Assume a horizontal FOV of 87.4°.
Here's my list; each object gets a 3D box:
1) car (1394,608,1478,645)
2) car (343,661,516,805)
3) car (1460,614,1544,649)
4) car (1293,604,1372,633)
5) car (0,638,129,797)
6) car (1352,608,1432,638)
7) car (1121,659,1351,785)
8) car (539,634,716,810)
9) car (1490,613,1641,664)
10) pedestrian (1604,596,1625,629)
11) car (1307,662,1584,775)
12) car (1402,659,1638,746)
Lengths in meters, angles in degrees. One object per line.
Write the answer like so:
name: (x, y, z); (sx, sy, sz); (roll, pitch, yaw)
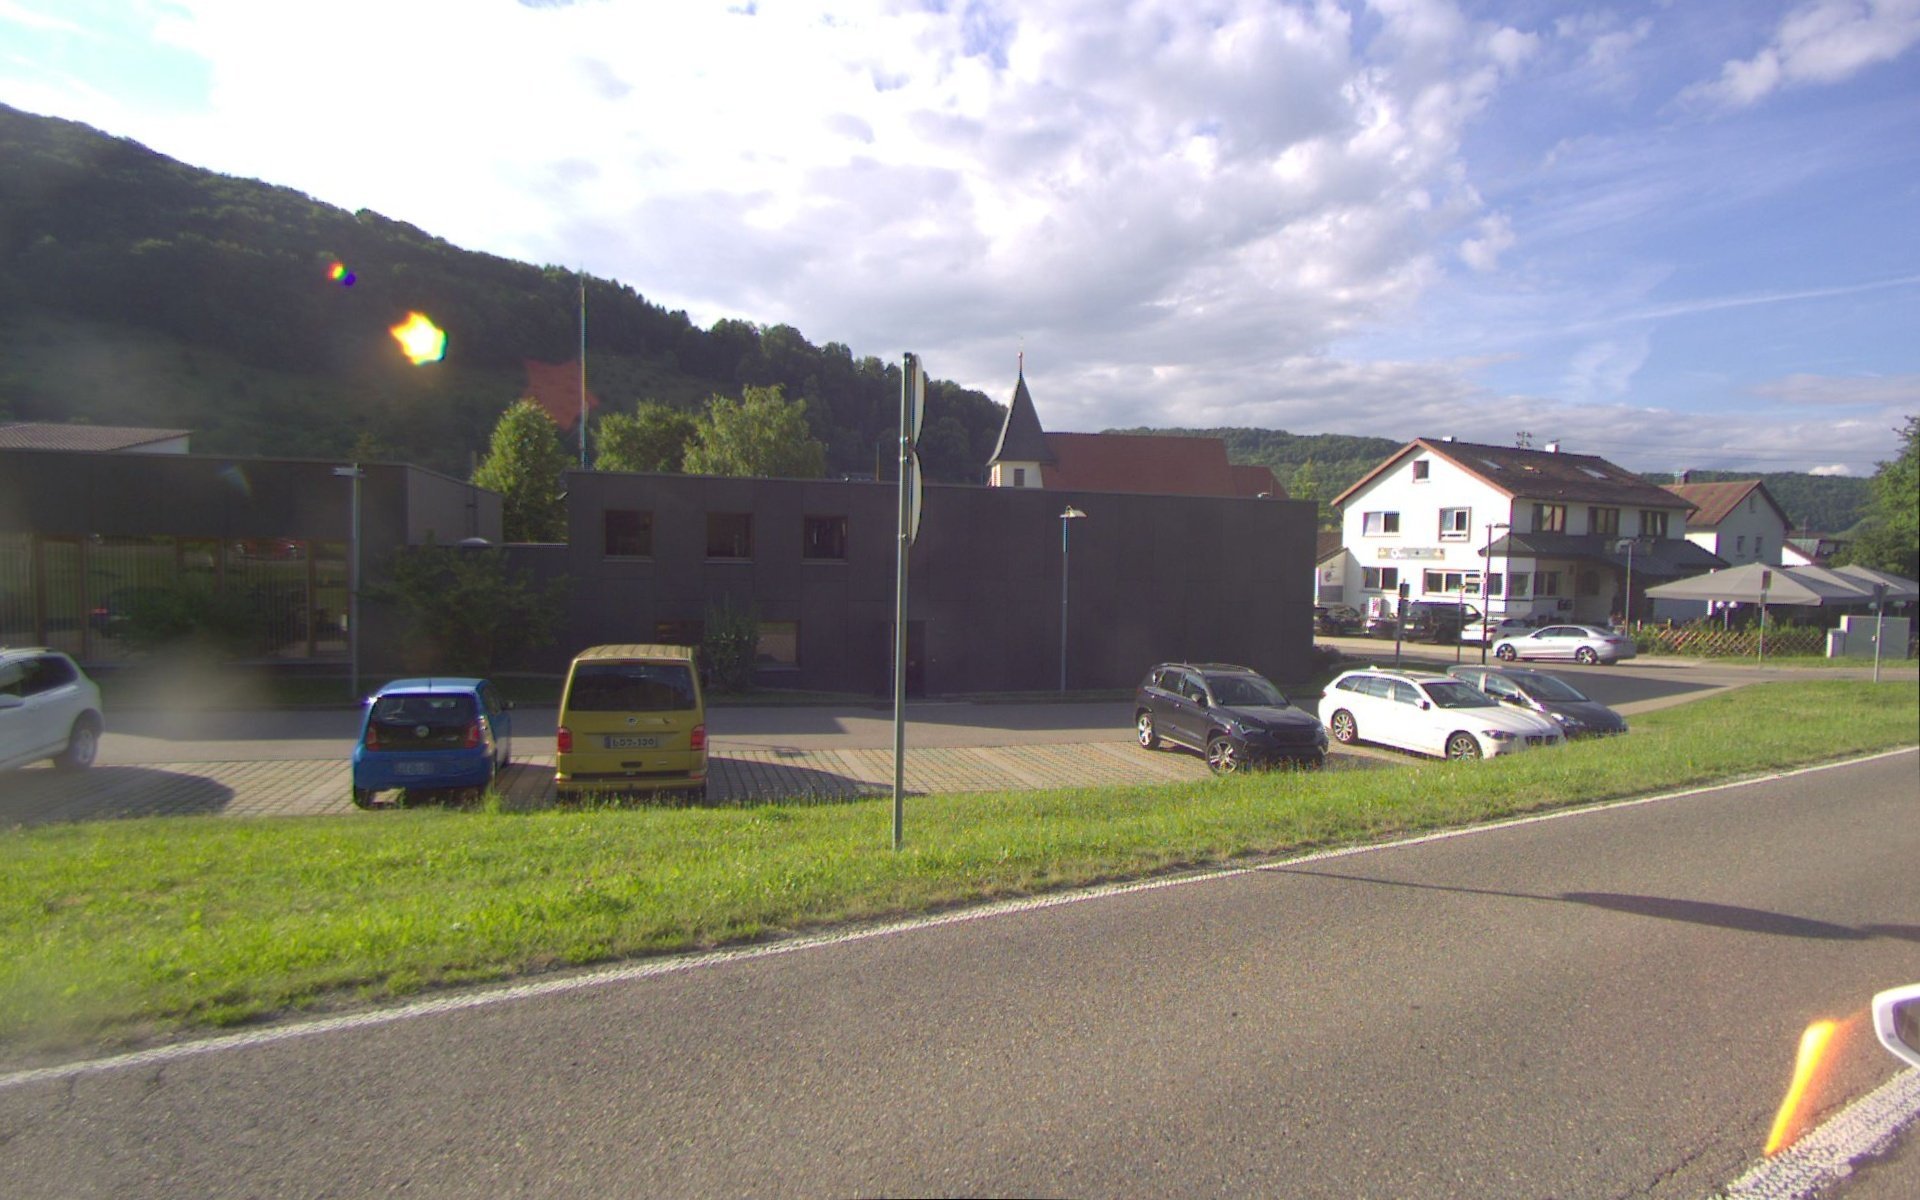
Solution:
car: (23.472, 1.325, 49.504); (3.954, 1.684, 1.877); (2, 0, -31)
car: (-7.230, 1.728, 14.002); (1.608, 1.492, 3.488); (2, 0, -20)
car: (24.927, 1.453, 46.178); (3.954, 1.469, 1.548); (2, 0, -31)
car: (19.622, 0.998, 52.892); (3.955, 1.372, 1.831); (2, 0, -32)
car: (-12.570, 1.445, 12.405); (1.969, 1.725, 4.535); (2, 0, -18)
car: (22.064, 1.192, 51.277); (3.955, 1.372, 1.831); (2, 0, -32)
car: (4.634, 2.003, 17.530); (1.969, 1.659, 4.022); (2, 0, -18)
car: (-4.552, 1.552, 14.324); (1.967, 1.893, 4.611); (2, 0, -15)
car: (22.316, 1.375, 37.182); (1.792, 1.661, 4.422); (2, 0, -33)
pedestrian: (30.304, 0.581, 46.516); (0.583, 1.523, 0.605); (2, 0, -30)
car: (8.860, 2.100, 18.887); (1.851, 1.513, 4.810); (2, 0, -18)
car: (11.223, 2.005, 20.442); (1.735, 1.327, 3.979); (2, 0, -22)
